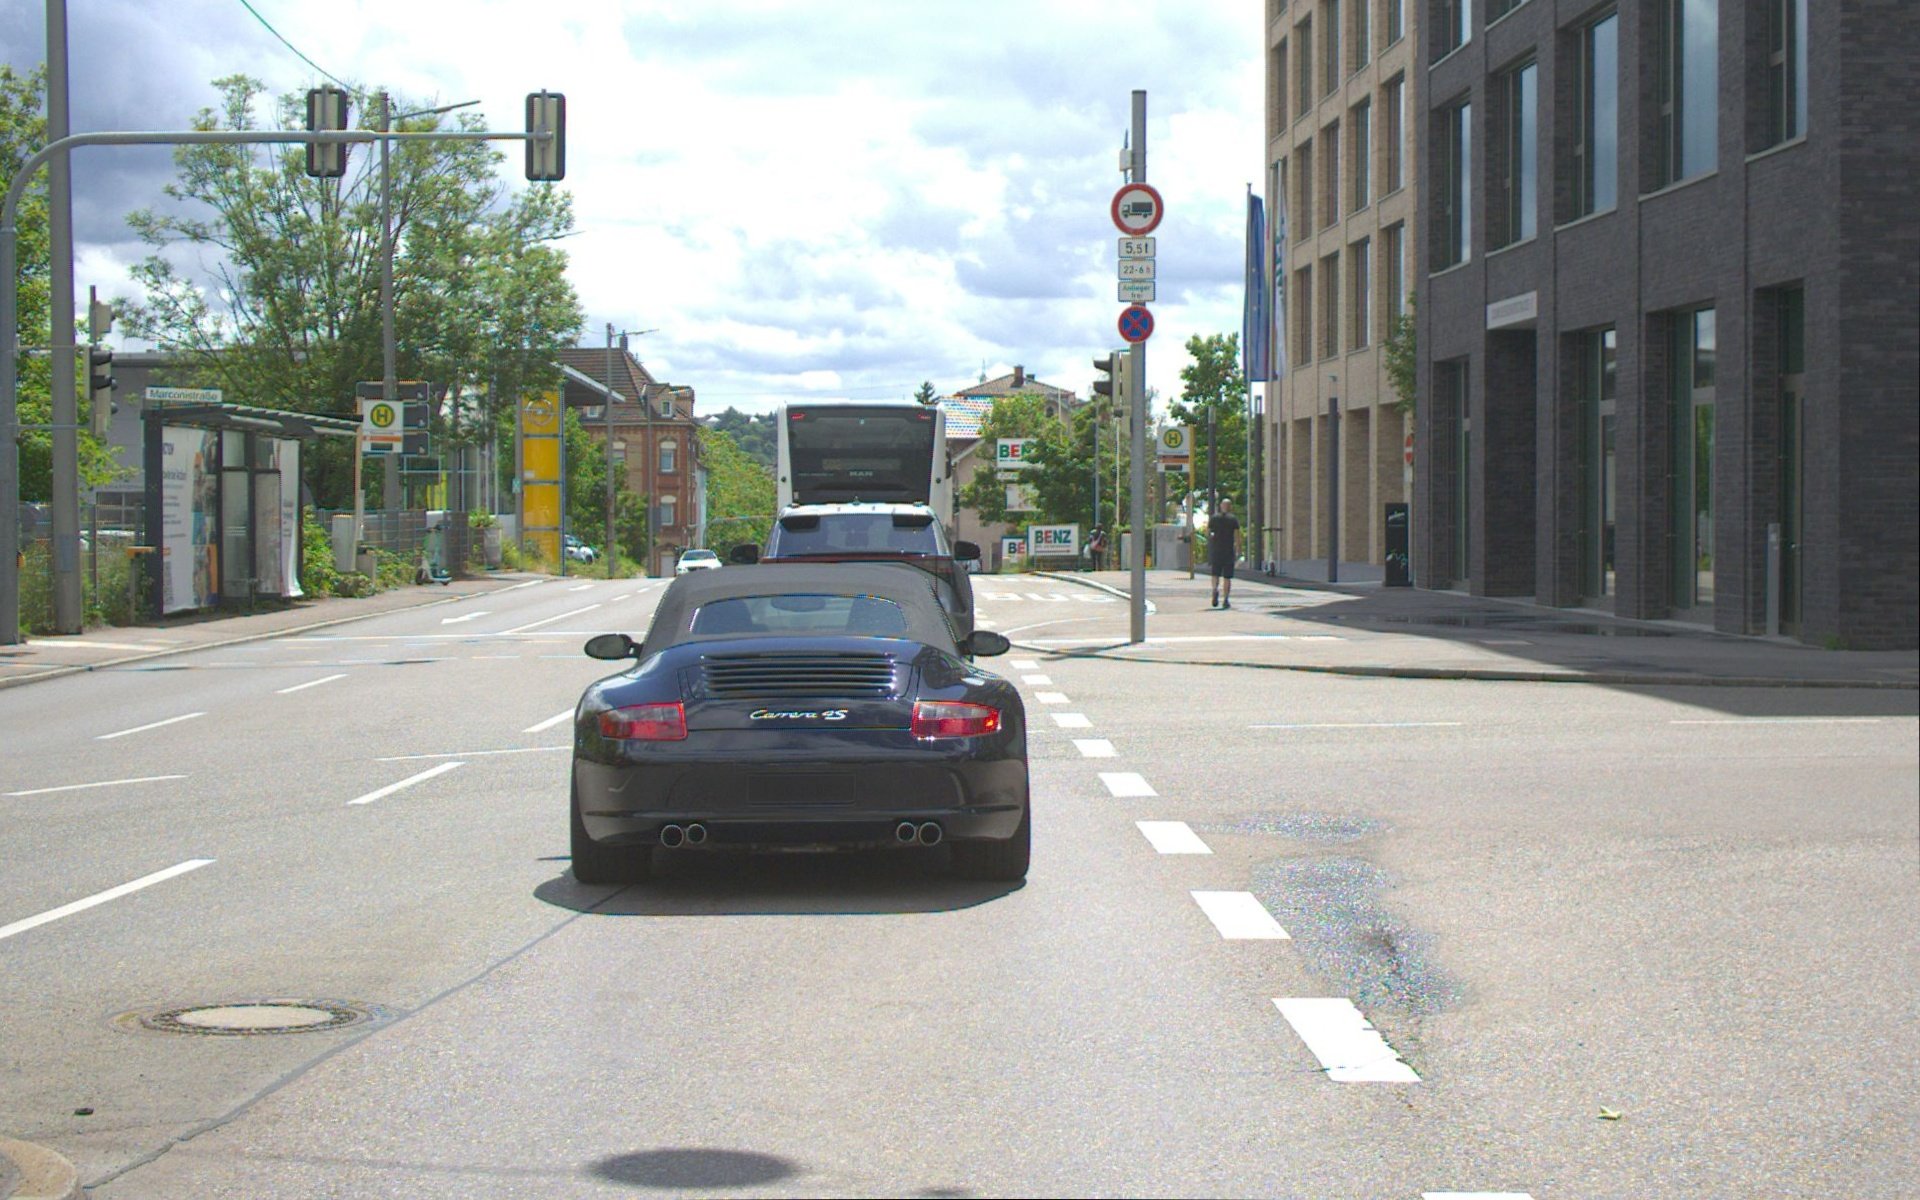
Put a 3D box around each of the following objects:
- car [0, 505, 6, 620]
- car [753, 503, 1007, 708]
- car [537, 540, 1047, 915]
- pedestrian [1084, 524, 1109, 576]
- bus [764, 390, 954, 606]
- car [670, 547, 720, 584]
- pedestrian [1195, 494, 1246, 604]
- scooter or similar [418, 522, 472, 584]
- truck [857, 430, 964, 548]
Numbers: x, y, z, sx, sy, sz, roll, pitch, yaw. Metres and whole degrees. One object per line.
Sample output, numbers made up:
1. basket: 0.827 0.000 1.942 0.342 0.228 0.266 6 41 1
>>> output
1. car: -14.043 -0.436 41.811 4.310 1.414 2.025 0 1 0
2. car: -0.739 -0.006 28.574 1.930 1.577 4.209 0 1 -4
3. car: -0.663 0.449 15.157 1.930 1.372 4.208 0 2 -1
4. pedestrian: 4.068 -1.489 102.520 0.687 1.531 0.856 0 0 -2
5. bus: -1.519 -1.686 57.010 2.802 3.187 12.196 0 2 0
6. car: -10.571 -1.387 137.322 1.796 1.372 4.225 -1 2 -2
7. pedestrian: 4.131 -0.821 54.613 0.683 1.722 0.962 1 1 -2
8. scooter or similar: -10.696 -0.968 71.407 0.535 1.258 1.470 2 1 16
9. truck: -1.403 -2.961 92.967 2.713 3.044 7.714 0 1 -2
